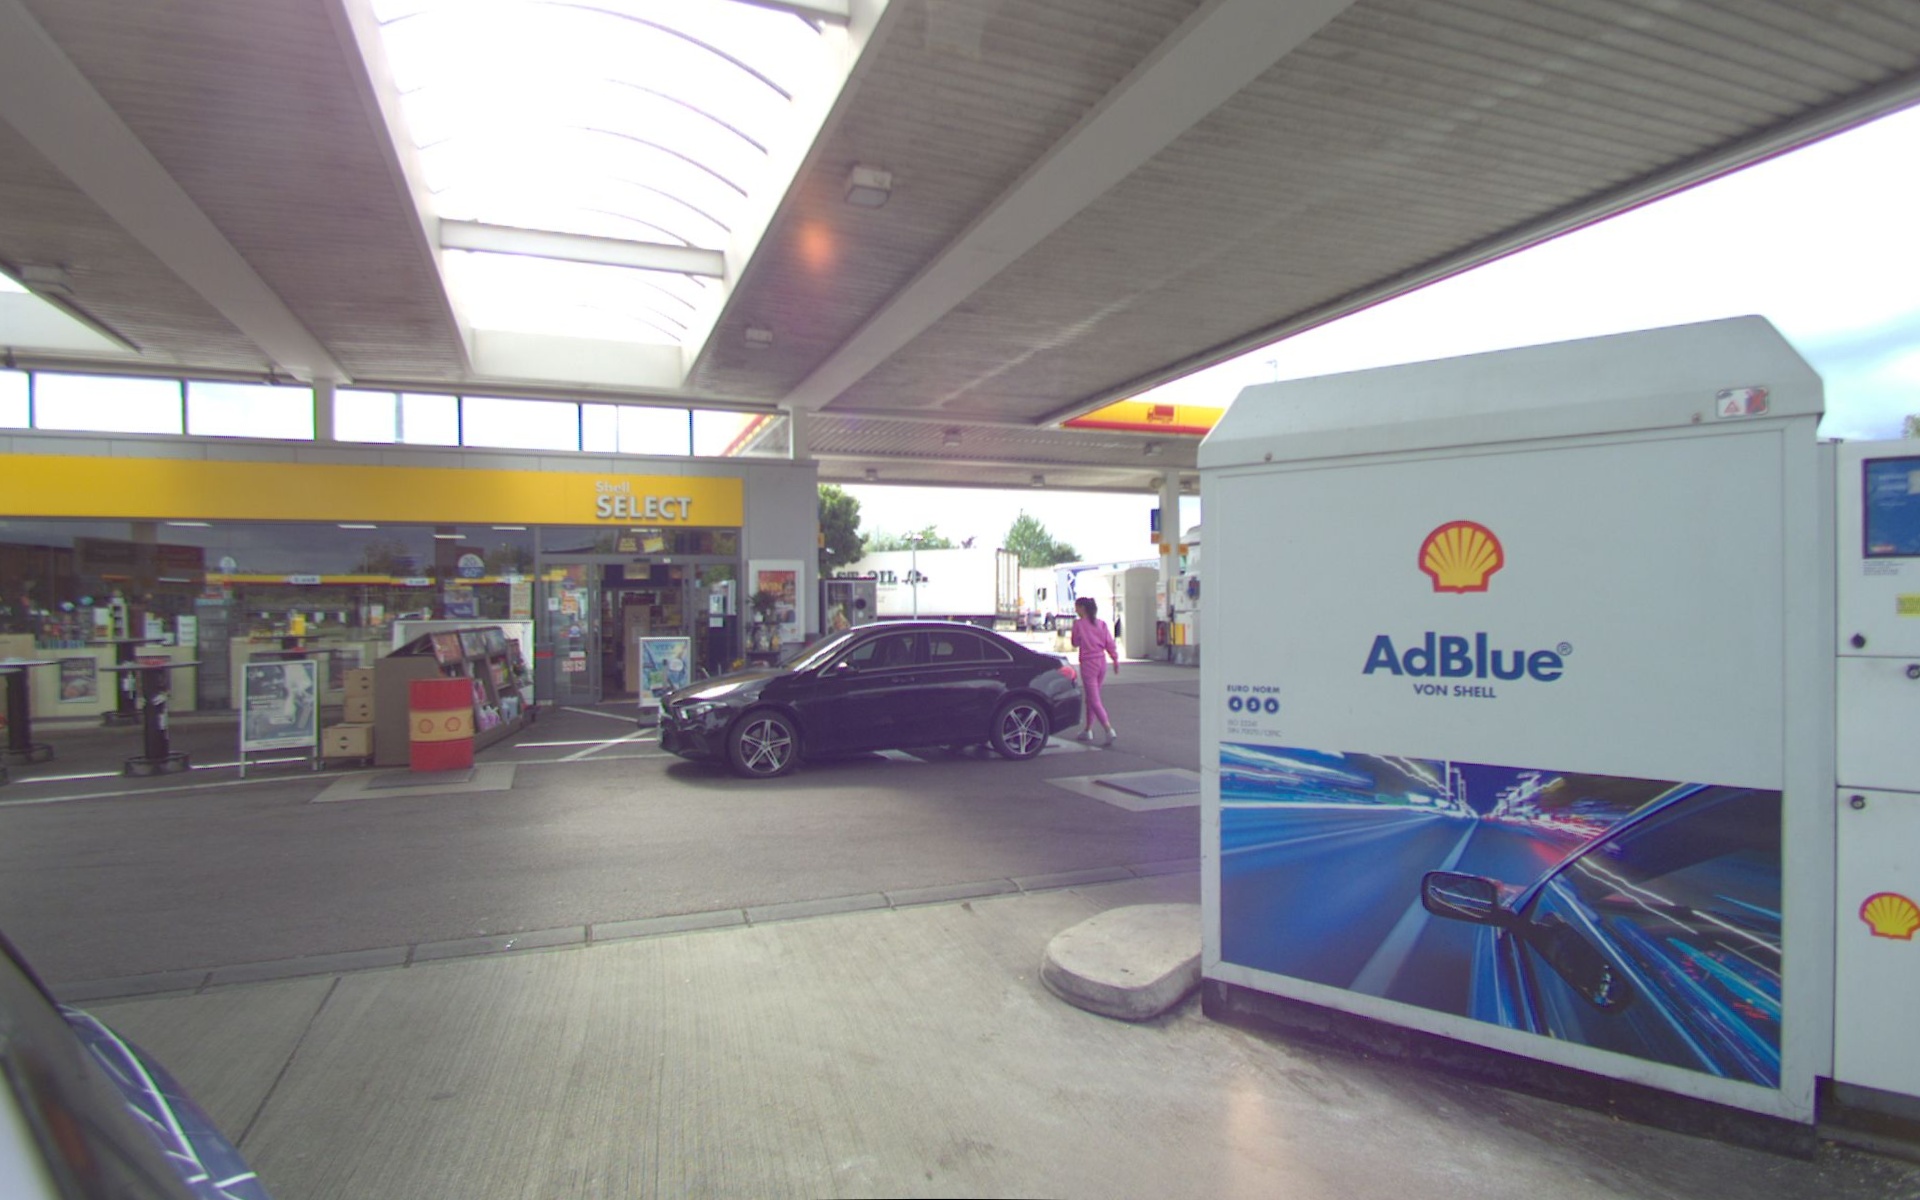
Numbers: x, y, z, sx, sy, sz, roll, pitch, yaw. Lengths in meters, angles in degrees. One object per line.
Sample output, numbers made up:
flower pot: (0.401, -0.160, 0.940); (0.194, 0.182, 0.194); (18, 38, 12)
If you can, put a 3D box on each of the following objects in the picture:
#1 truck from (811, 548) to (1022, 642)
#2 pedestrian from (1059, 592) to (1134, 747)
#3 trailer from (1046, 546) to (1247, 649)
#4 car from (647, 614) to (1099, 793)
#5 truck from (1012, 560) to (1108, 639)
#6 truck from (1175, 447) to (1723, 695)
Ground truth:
truck: (-2.102, -0.174, 46.837); (9.536, 4.036, 2.772); (-1, 0, 25)
pedestrian: (1.573, 0.778, 11.728); (0.616, 1.726, 0.625); (-1, 0, -22)
trailer: (9.105, -0.091, 52.672); (3.294, 4.600, 14.397); (-1, 0, -20)
car: (-0.924, 0.947, 10.675); (4.394, 1.511, 1.785); (-1, 0, -21)
truck: (5.927, -0.040, 61.220); (3.333, 4.538, 6.249); (-1, 0, -20)
truck: (9.659, -0.458, 23.100); (2.491, 4.069, 12.947); (-1, 0, -22)
